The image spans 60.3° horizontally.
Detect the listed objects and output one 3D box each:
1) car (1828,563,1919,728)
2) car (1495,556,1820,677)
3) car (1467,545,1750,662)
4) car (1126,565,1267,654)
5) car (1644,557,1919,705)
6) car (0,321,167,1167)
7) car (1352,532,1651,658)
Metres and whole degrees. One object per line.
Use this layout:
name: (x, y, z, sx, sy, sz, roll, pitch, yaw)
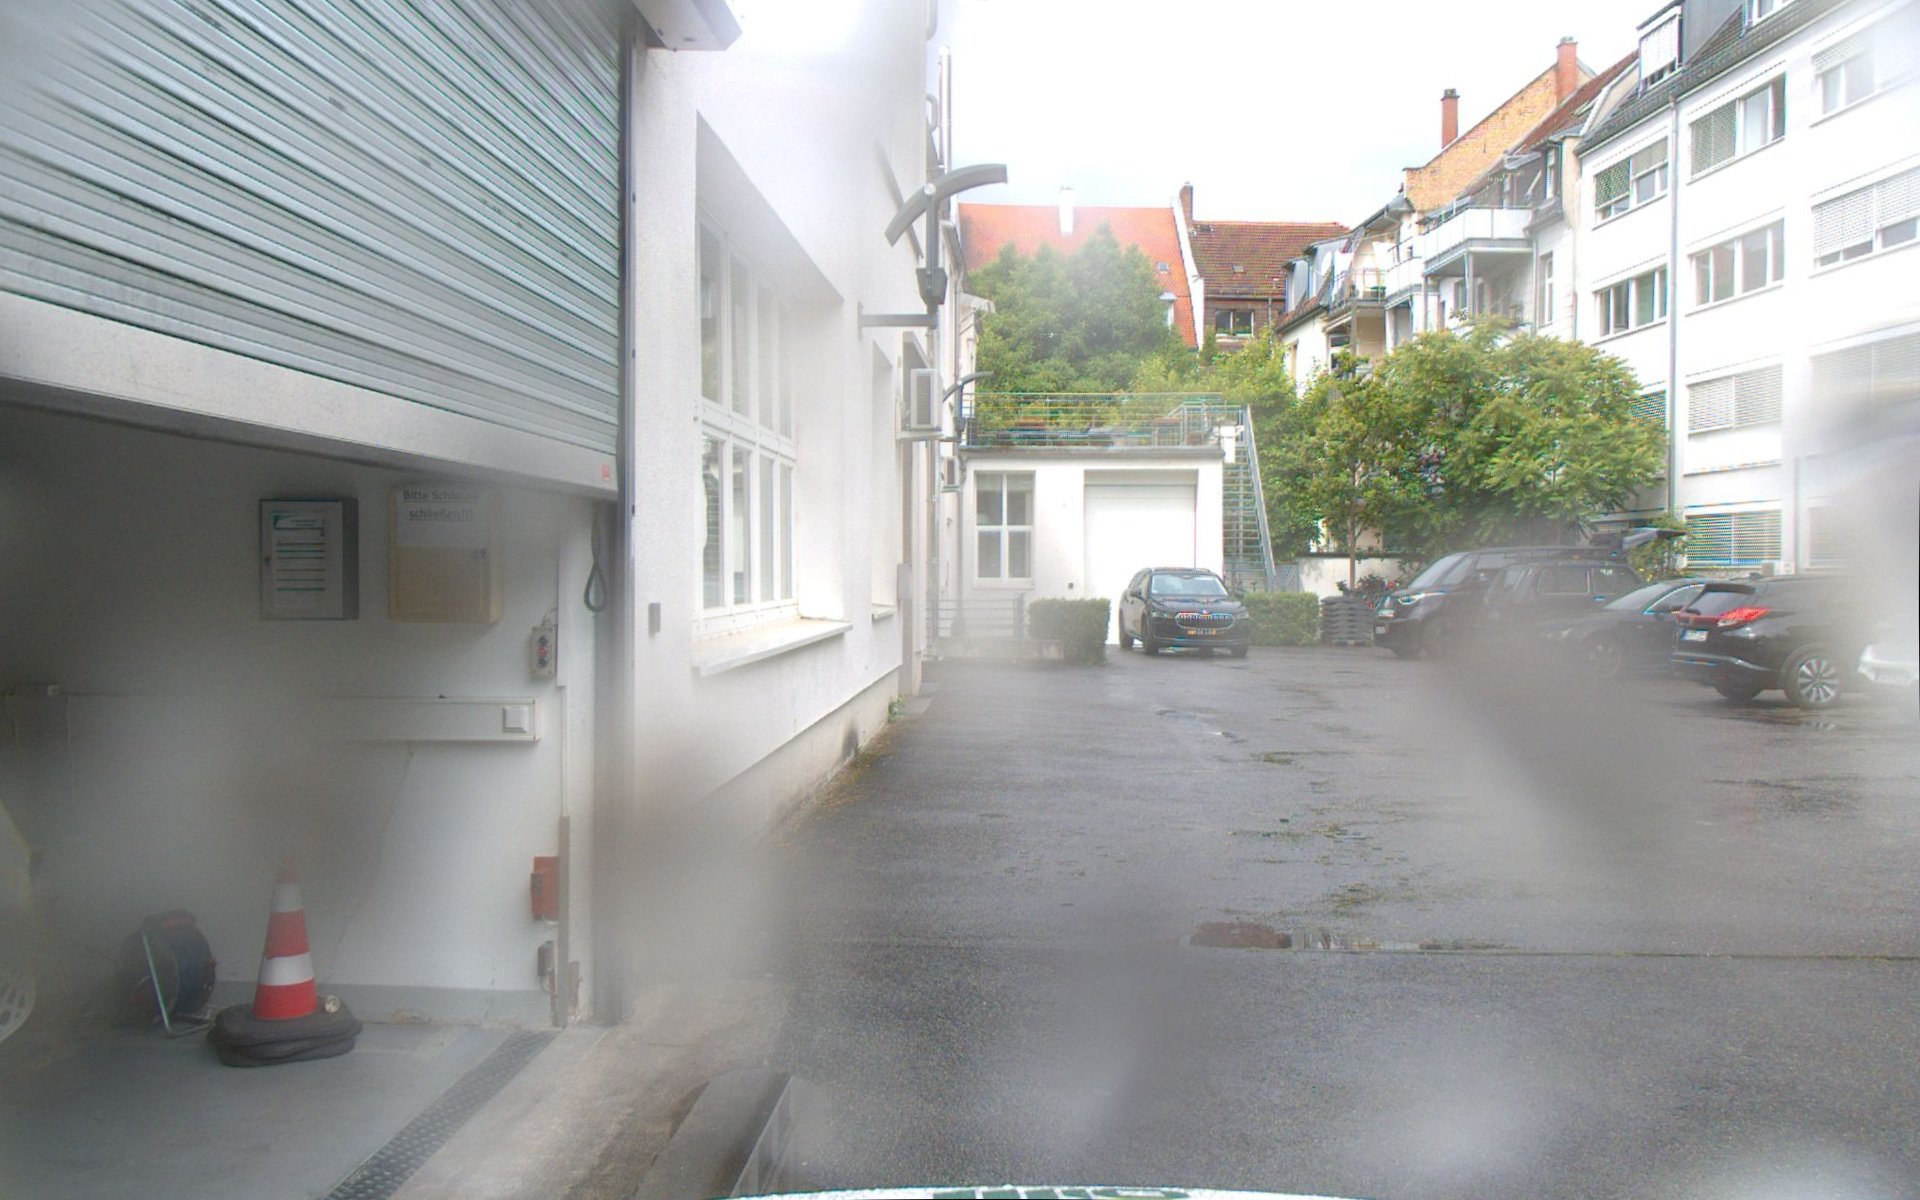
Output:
car: (10.550, 0.367, 15.511, 3.907, 1.484, 1.772, -1, 1, -3)
car: (9.770, 0.213, 23.347, 3.831, 1.540, 1.751, -1, 0, -3)
car: (10.367, 0.048, 26.624, 3.828, 1.717, 1.817, -1, 0, 1)
car: (4.100, 0.116, 29.265, 1.938, 1.469, 4.001, 0, 1, 0)
car: (10.082, 0.297, 18.810, 3.832, 1.540, 1.818, -1, 0, -5)
car: (-4.623, 0.314, 3.779, 4.592, 2.048, 2.085, 1, 1, 2)
car: (9.572, -0.134, 29.422, 4.548, 2.038, 2.221, -2, 2, -8)
